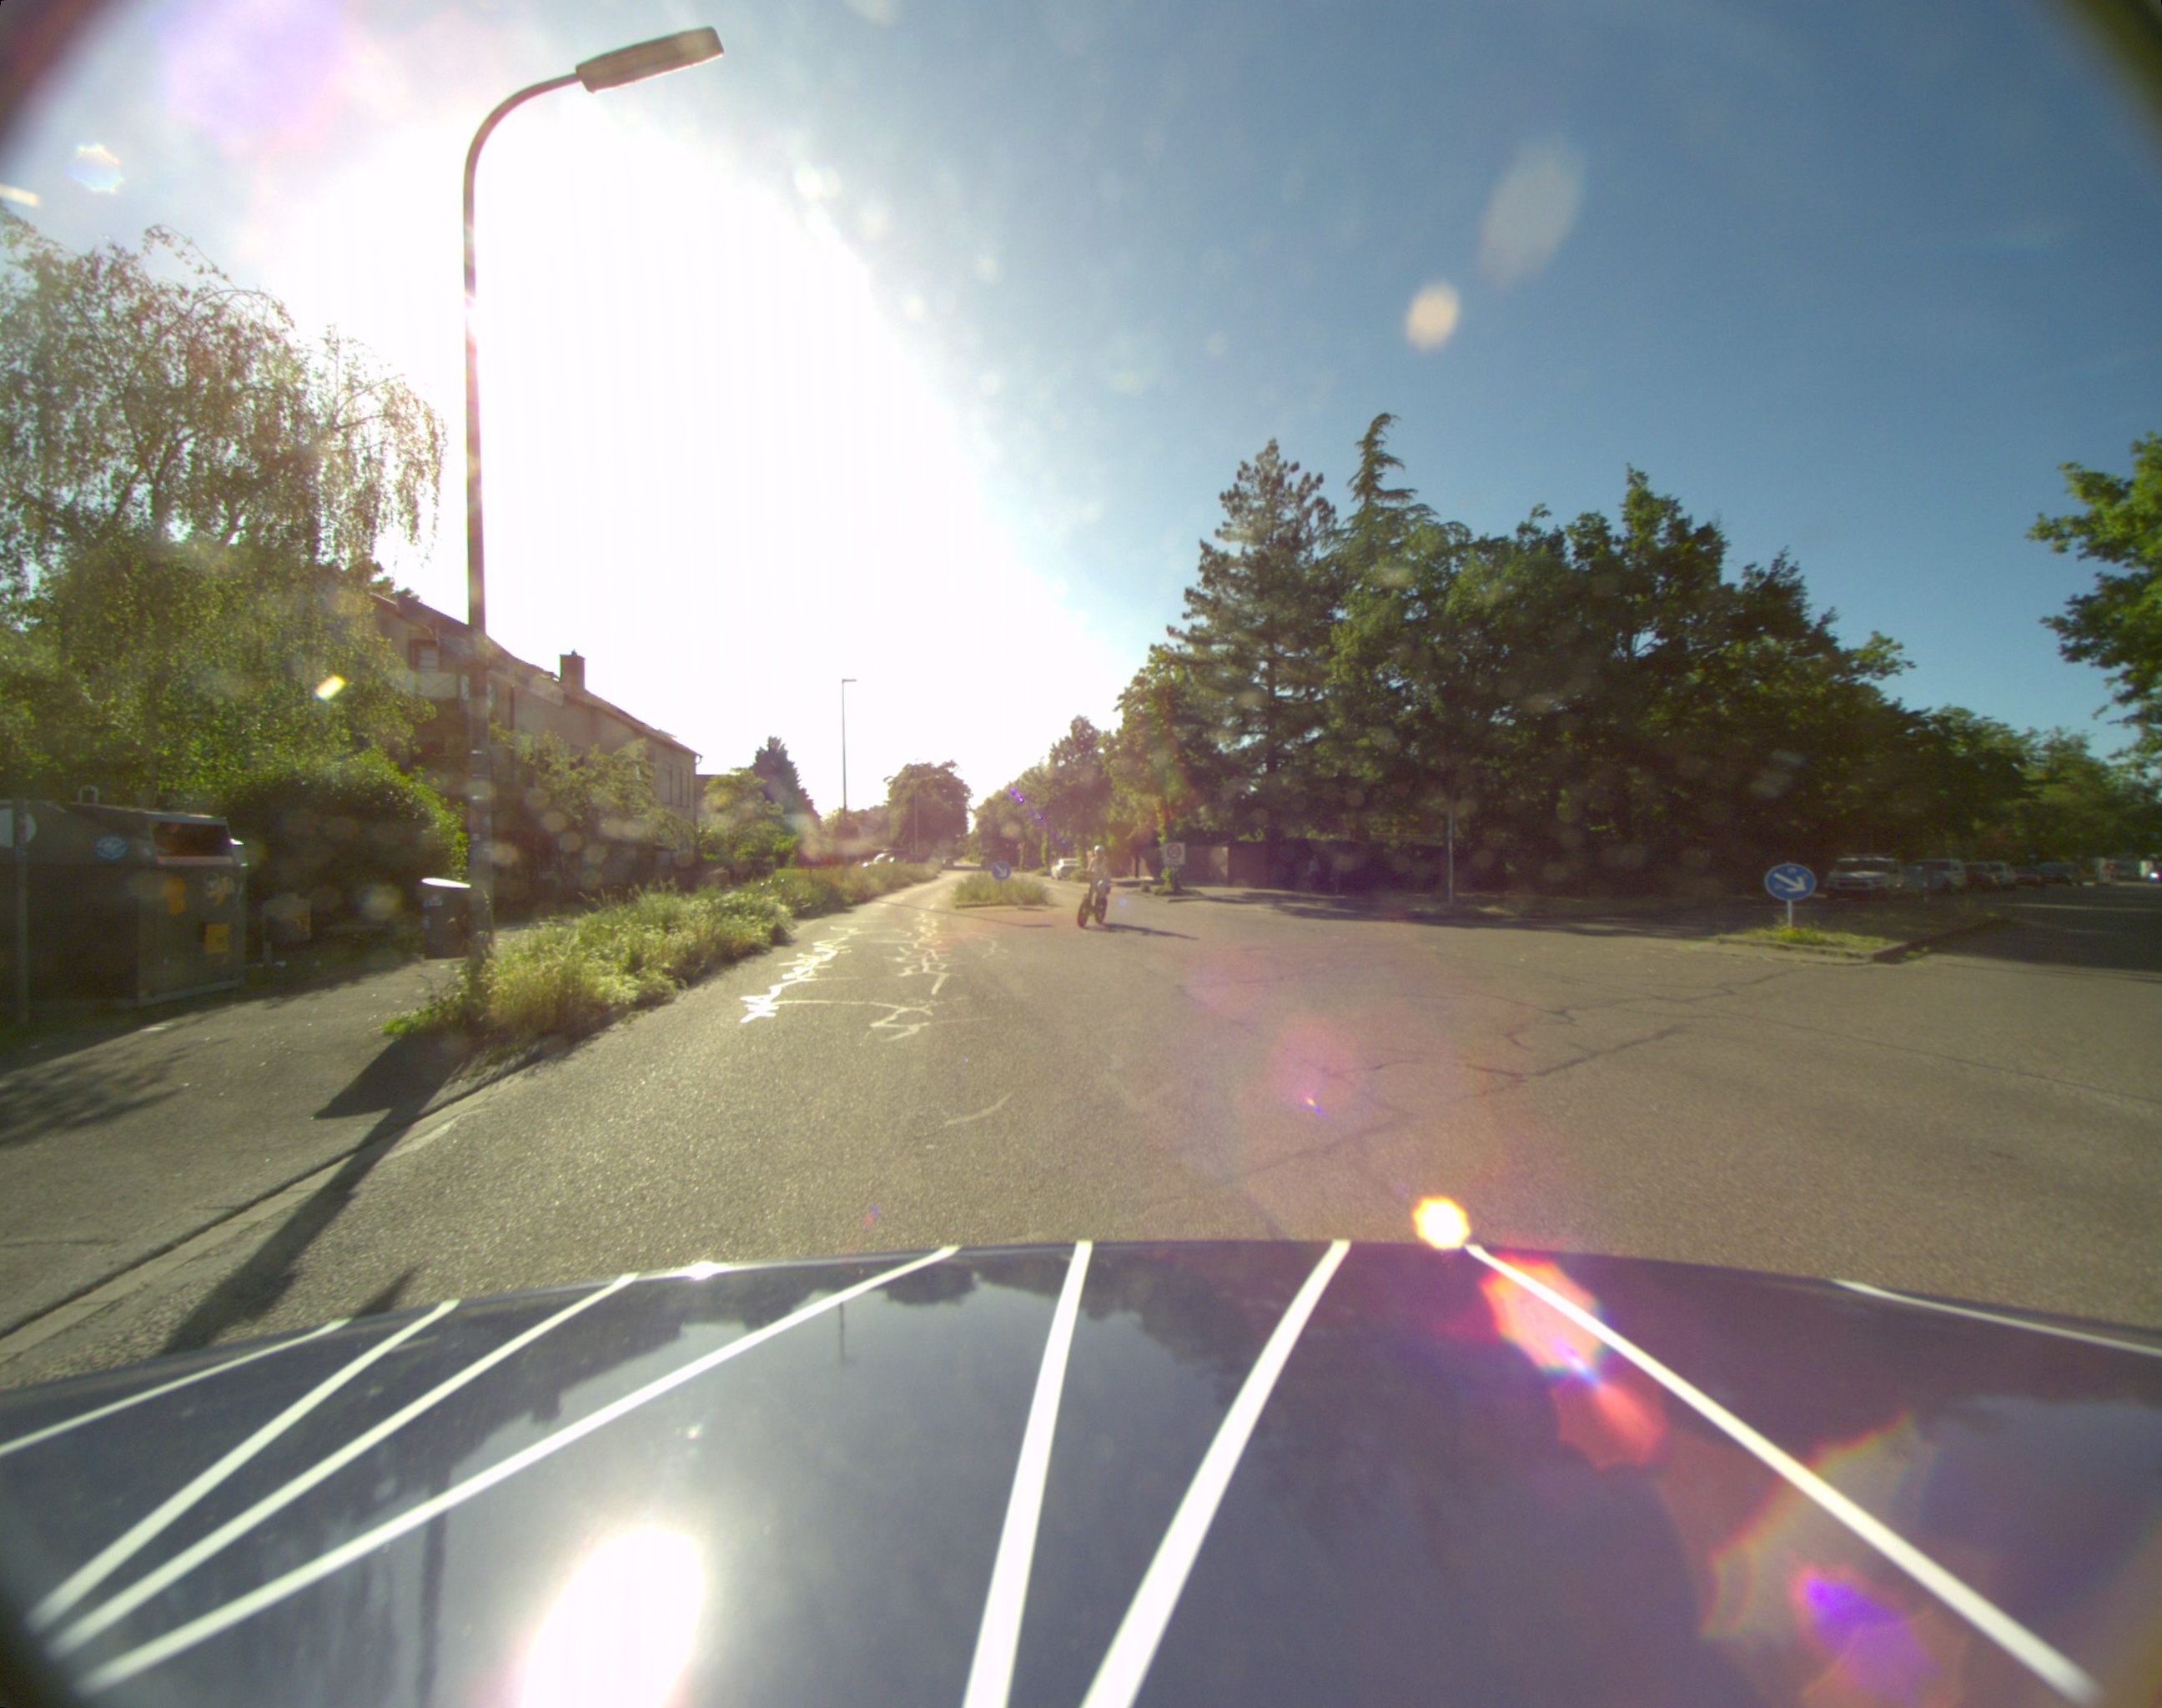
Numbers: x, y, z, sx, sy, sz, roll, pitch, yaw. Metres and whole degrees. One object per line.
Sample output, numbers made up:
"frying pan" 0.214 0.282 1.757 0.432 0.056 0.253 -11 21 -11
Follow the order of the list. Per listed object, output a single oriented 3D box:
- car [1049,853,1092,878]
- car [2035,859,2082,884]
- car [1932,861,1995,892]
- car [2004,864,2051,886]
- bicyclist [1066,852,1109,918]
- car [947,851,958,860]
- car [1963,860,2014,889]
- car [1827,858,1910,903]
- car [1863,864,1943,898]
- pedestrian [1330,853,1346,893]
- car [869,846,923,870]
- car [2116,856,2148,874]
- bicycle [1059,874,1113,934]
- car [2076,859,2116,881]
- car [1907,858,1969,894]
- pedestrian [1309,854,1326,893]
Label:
"car" -0.763 0.764 52.406 2.001 1.649 3.994 0 1 -15
"car" 68.614 1.200 53.327 4.098 1.643 1.497 0 0 -31
"car" 48.562 1.218 41.821 3.760 1.629 1.769 0 0 -33
"car" 62.877 1.367 50.464 3.472 1.351 1.497 0 0 -31
"bicyclist" 0.146 0.626 16.026 0.637 1.339 0.840 0 1 22
"car" -25.157 0.304 148.720 2.000 1.805 3.996 0 1 -9
"car" 54.471 1.201 45.600 3.760 1.629 1.497 0 0 -33
"car" 32.872 1.038 31.677 4.643 1.739 1.751 0 0 -35
"car" 37.897 1.216 35.003 4.622 1.435 1.719 0 -2 -33
"pedestrian" 10.134 0.759 29.962 0.396 1.552 0.538 1 2 -7
"car" -14.019 0.270 57.666 1.743 1.707 3.658 1 1 44
"car" 97.694 1.004 70.614 3.916 1.643 1.419 0 0 -31
"bicycle" 0.134 1.022 15.976 0.457 1.138 1.901 1 0 22
"car" 77.048 1.192 57.678 3.726 1.643 1.447 0 0 -31
"car" 42.674 1.070 37.836 3.808 1.744 1.497 0 0 -33
"pedestrian" 9.347 0.768 30.012 0.539 1.512 0.395 -1 1 -34
